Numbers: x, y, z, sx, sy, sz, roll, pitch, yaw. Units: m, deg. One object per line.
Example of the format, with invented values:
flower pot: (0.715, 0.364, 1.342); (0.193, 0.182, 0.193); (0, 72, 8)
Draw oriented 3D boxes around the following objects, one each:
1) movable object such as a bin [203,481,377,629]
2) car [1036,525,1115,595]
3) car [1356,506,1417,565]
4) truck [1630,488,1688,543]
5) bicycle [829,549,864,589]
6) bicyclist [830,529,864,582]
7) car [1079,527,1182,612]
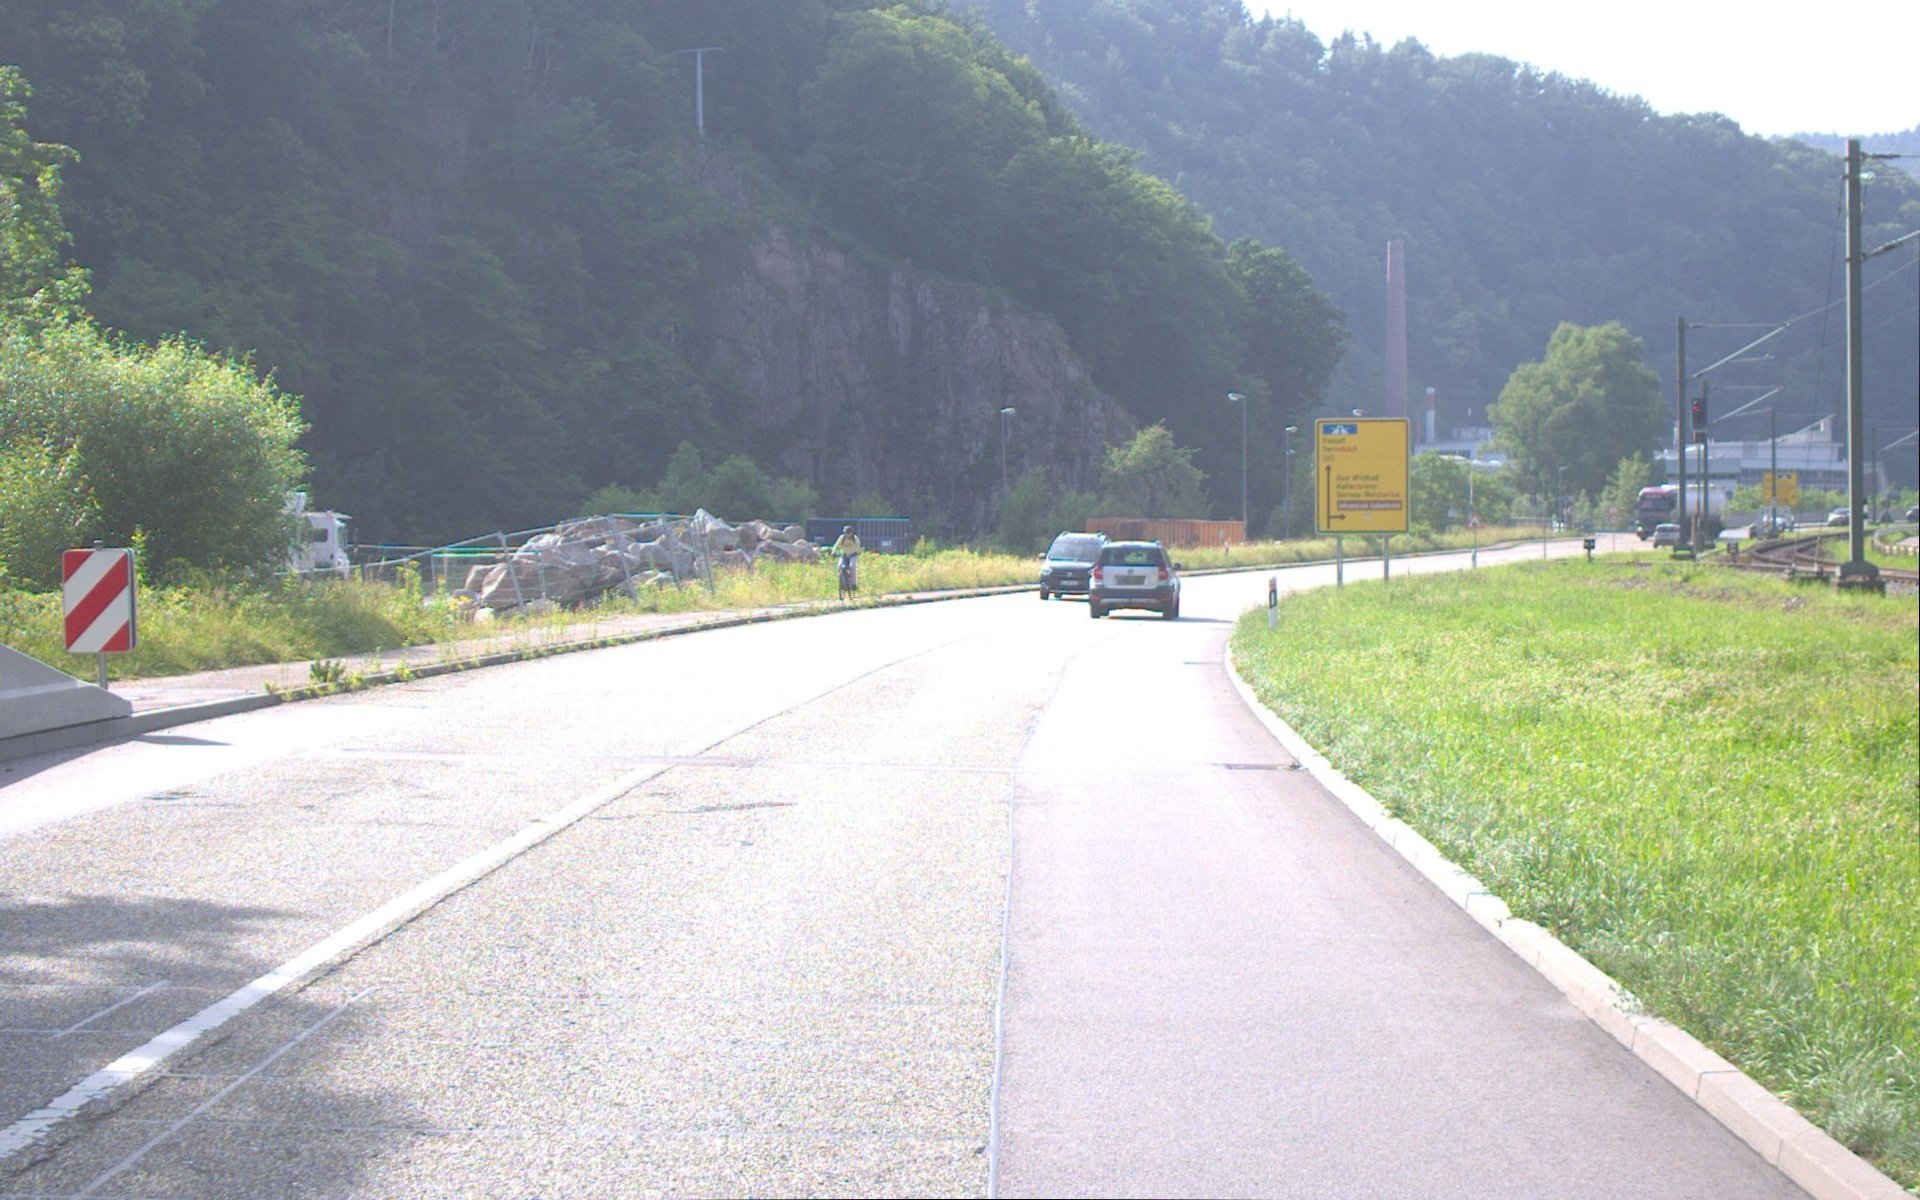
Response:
movable object such as a bin: (-18.857, -1.272, 97.292); (2.898, 3.934, 7.808); (-2, 1, 3)
car: (3.150, -1.096, 93.034); (1.851, 1.778, 4.683); (2, 1, 5)
car: (15.132, -2.288, 122.041); (1.994, 2.007, 3.999); (-2, 1, 6)
truck: (50.467, -6.087, 248.013); (2.753, 3.822, 8.190); (2, 2, 20)
bicycle: (-2.620, -0.726, 79.373); (0.539, 0.878, 2.252); (2, 1, 4)
bicyclist: (-2.613, -1.028, 79.445); (0.684, 1.220, 0.858); (1, 1, 4)
car: (3.676, -0.675, 73.495); (1.994, 1.717, 3.989); (-2, 1, 5)
